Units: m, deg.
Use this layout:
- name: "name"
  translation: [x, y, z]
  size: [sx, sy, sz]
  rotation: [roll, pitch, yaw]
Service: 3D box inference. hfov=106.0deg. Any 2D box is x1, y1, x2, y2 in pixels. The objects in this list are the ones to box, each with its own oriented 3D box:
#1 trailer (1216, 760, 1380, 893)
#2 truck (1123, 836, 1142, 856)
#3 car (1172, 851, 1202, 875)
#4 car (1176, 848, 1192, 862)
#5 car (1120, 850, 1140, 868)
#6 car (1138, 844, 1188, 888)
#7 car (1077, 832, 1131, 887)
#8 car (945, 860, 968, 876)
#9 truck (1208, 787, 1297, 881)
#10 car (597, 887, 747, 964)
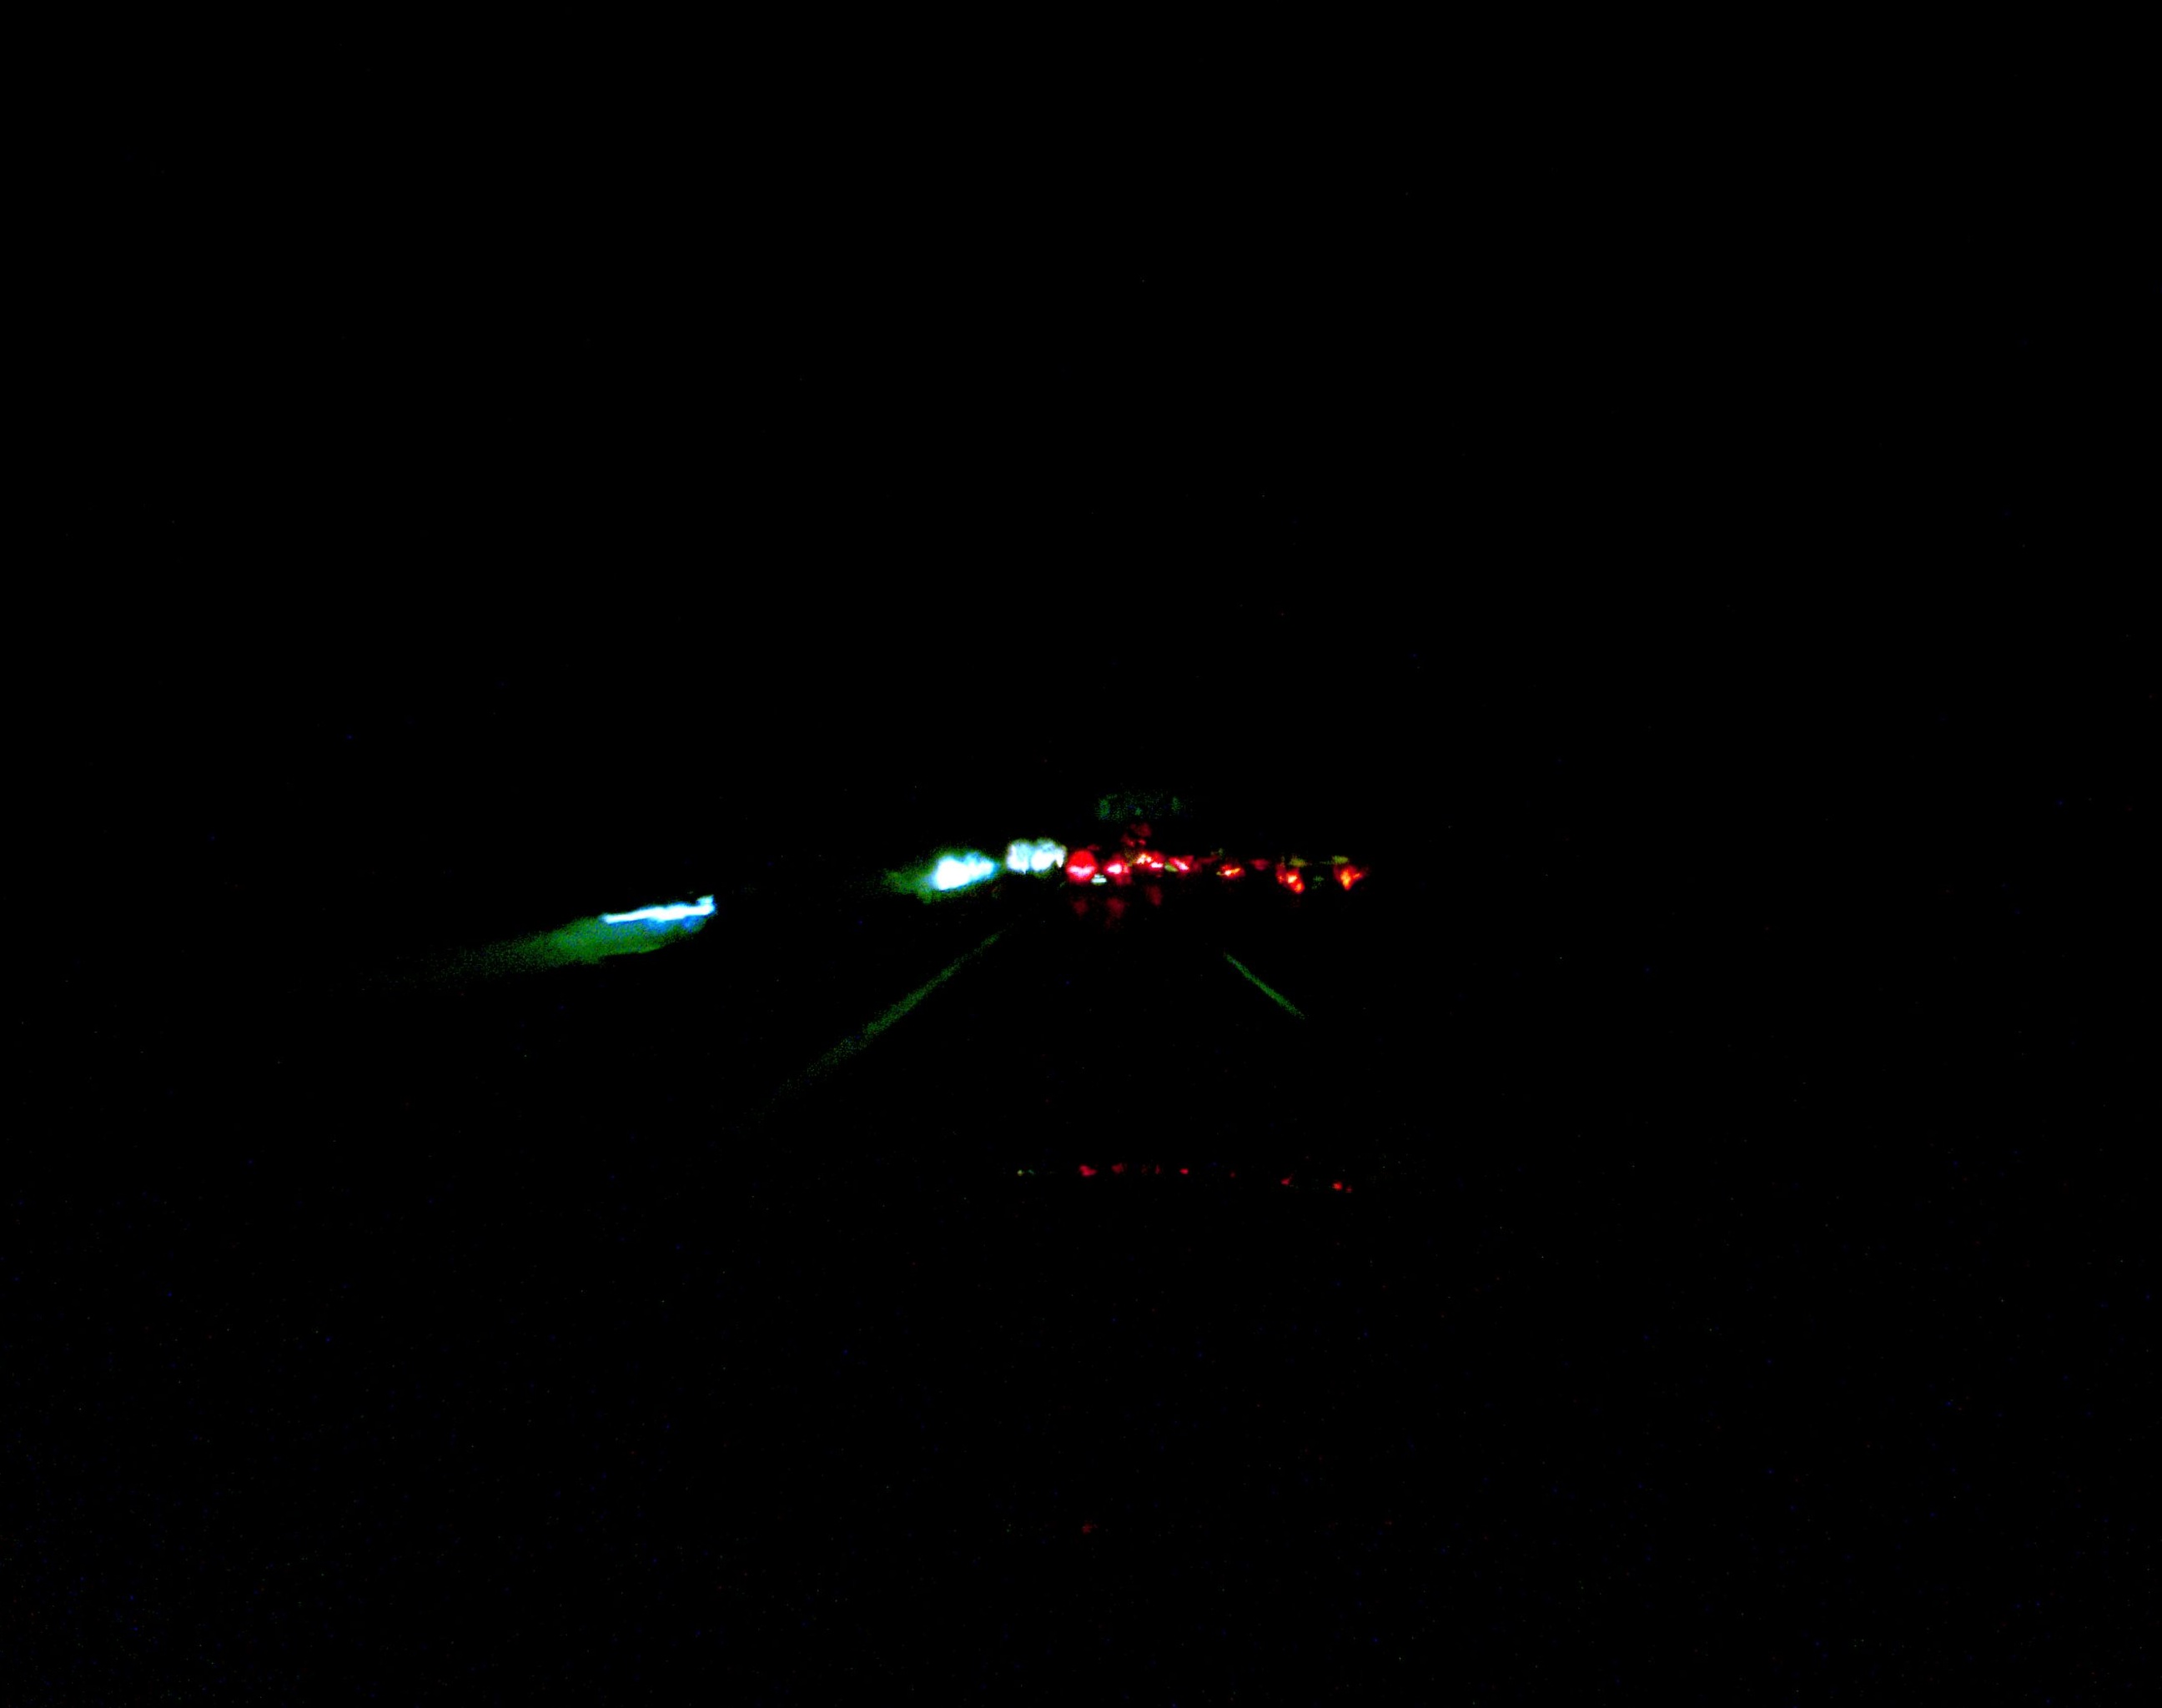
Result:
- name: "trailer"
  translation: [8.101, -0.900, 32.955]
  size: [3.030, 4.108, 13.832]
  rotation: [-3, 0, 1]
- name: "truck"
  translation: [9.482, -1.417, 151.050]
  size: [3.026, 3.297, 11.383]
  rotation: [-3, 0, 1]
- name: "car"
  translation: [9.439, 0.759, 72.861]
  size: [1.988, 2.013, 3.999]
  rotation: [-3, 0, -1]
- name: "car"
  translation: [16.379, 0.155, 129.953]
  size: [1.988, 2.013, 3.999]
  rotation: [-3, 0, -1]
- name: "car"
  translation: [5.854, 0.638, 97.920]
  size: [1.988, 2.013, 3.999]
  rotation: [-3, 0, -1]
- name: "car"
  translation: [4.111, 0.576, 41.341]
  size: [1.988, 2.013, 3.999]
  rotation: [-3, 0, -1]
- name: "car"
  translation: [0.870, 0.191, 31.741]
  size: [1.986, 2.013, 4.001]
  rotation: [0, 0, 1]
- name: "car"
  translation: [-14.757, 1.638, 96.843]
  size: [1.988, 1.761, 4.958]
  rotation: [-3, 0, -1]
- name: "truck"
  translation: [8.252, -0.925, 39.842]
  size: [3.030, 4.108, 5.799]
  rotation: [-3, 0, 1]
- name: "car"
  translation: [-12.160, 2.047, 24.662]
  size: [1.987, 1.760, 4.960]
  rotation: [0, 1, 0]
